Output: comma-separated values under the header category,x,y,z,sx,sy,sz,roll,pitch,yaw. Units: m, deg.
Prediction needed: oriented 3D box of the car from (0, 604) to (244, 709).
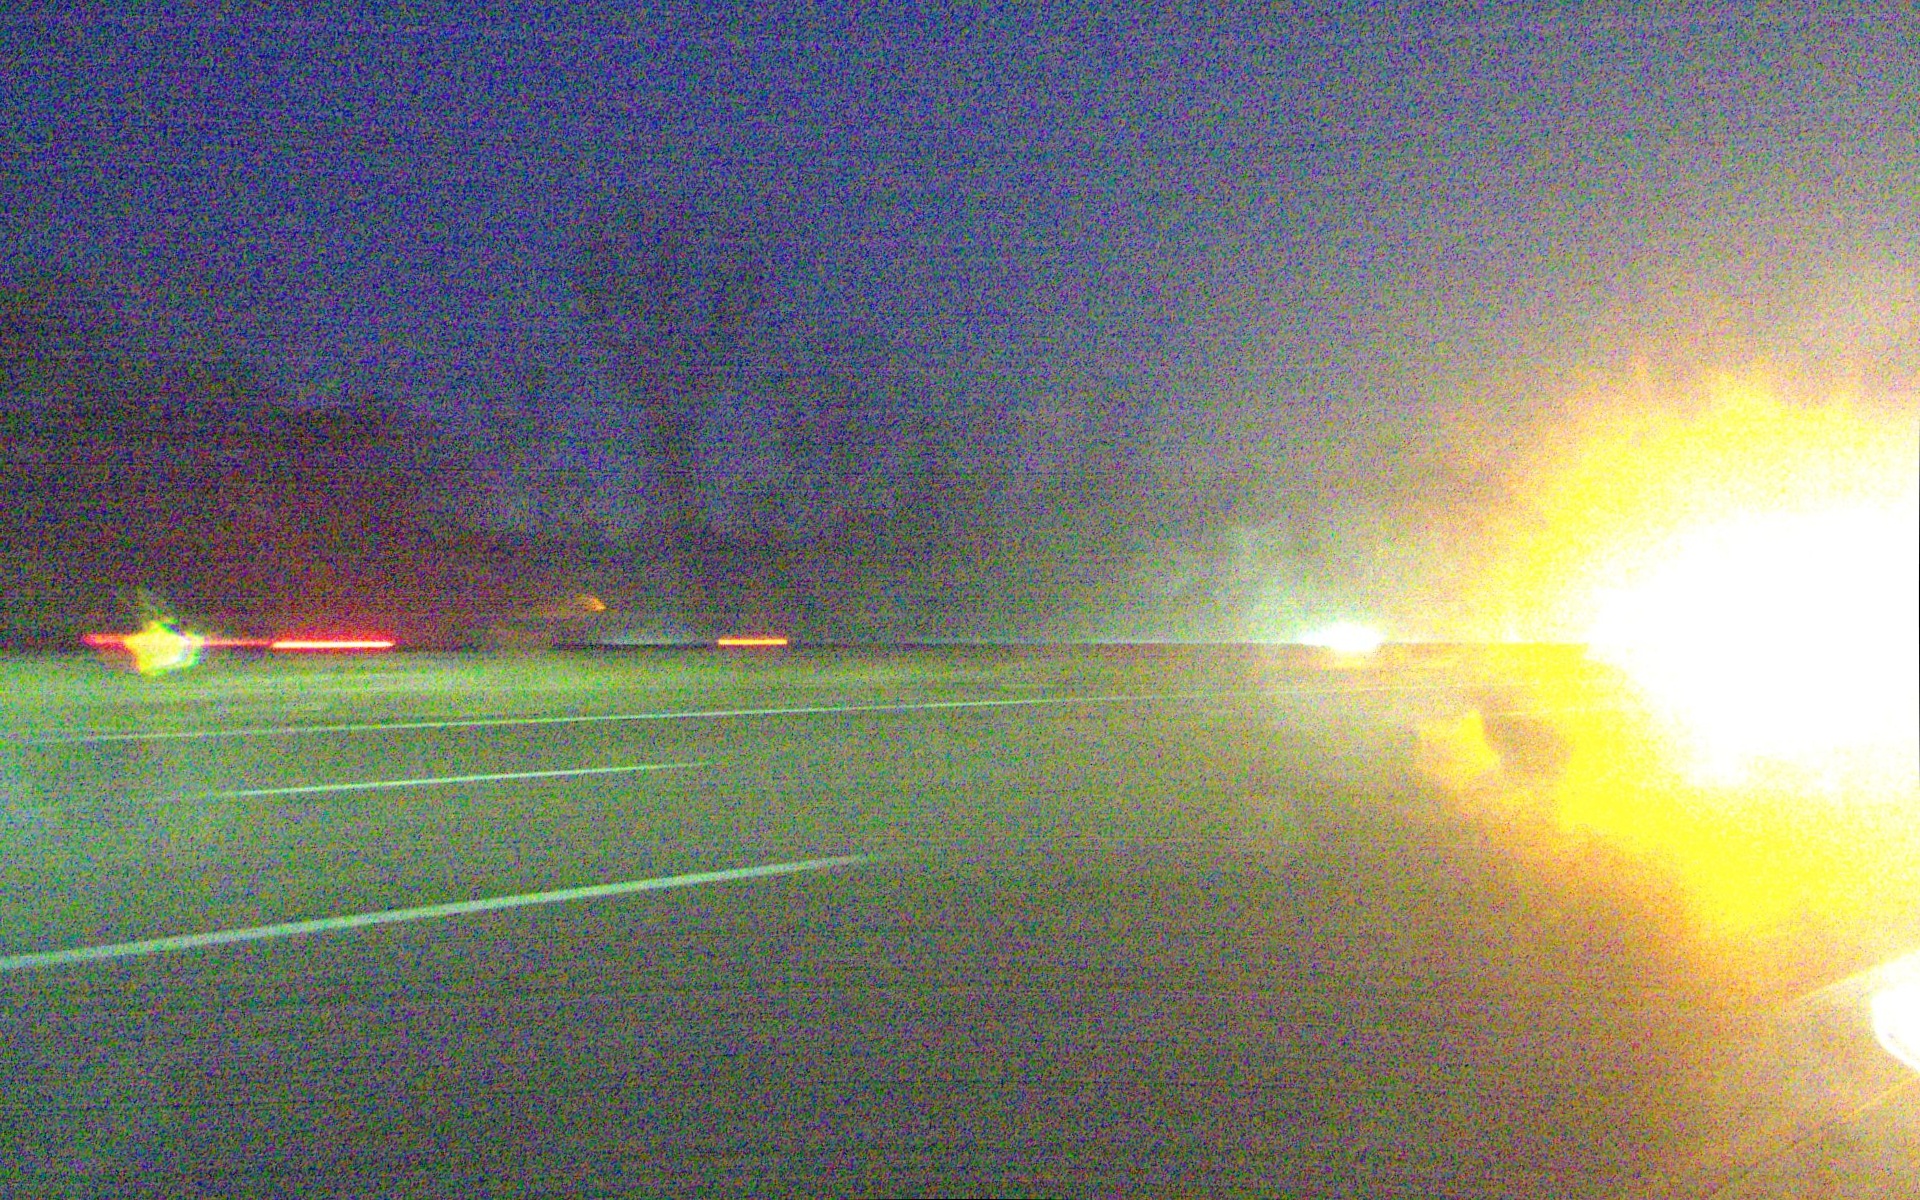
category,x,y,z,sx,sy,sz,roll,pitch,yaw
car,-15.918,0.990,18.284,4.512,1.744,1.870,2,0,-32

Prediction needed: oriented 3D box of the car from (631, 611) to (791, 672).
category,x,y,z,sx,sy,sz,roll,pitch,yaw
car,-7.804,1.306,31.572,4.512,1.744,1.870,2,0,-32

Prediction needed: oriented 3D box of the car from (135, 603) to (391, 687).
category,x,y,z,sx,sy,sz,roll,pitch,yaw
car,-15.632,1.016,22.865,4.504,1.744,1.873,2,0,-27

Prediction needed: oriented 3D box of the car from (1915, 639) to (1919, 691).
category,x,y,z,sx,sy,sz,roll,pitch,yaw
car,32.823,2.154,32.764,3.801,1.672,1.683,2,0,-35

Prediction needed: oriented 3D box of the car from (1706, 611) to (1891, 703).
category,x,y,z,sx,sy,sz,roll,pitch,yaw
car,16.856,1.098,20.139,3.963,1.617,1.979,2,0,-37
